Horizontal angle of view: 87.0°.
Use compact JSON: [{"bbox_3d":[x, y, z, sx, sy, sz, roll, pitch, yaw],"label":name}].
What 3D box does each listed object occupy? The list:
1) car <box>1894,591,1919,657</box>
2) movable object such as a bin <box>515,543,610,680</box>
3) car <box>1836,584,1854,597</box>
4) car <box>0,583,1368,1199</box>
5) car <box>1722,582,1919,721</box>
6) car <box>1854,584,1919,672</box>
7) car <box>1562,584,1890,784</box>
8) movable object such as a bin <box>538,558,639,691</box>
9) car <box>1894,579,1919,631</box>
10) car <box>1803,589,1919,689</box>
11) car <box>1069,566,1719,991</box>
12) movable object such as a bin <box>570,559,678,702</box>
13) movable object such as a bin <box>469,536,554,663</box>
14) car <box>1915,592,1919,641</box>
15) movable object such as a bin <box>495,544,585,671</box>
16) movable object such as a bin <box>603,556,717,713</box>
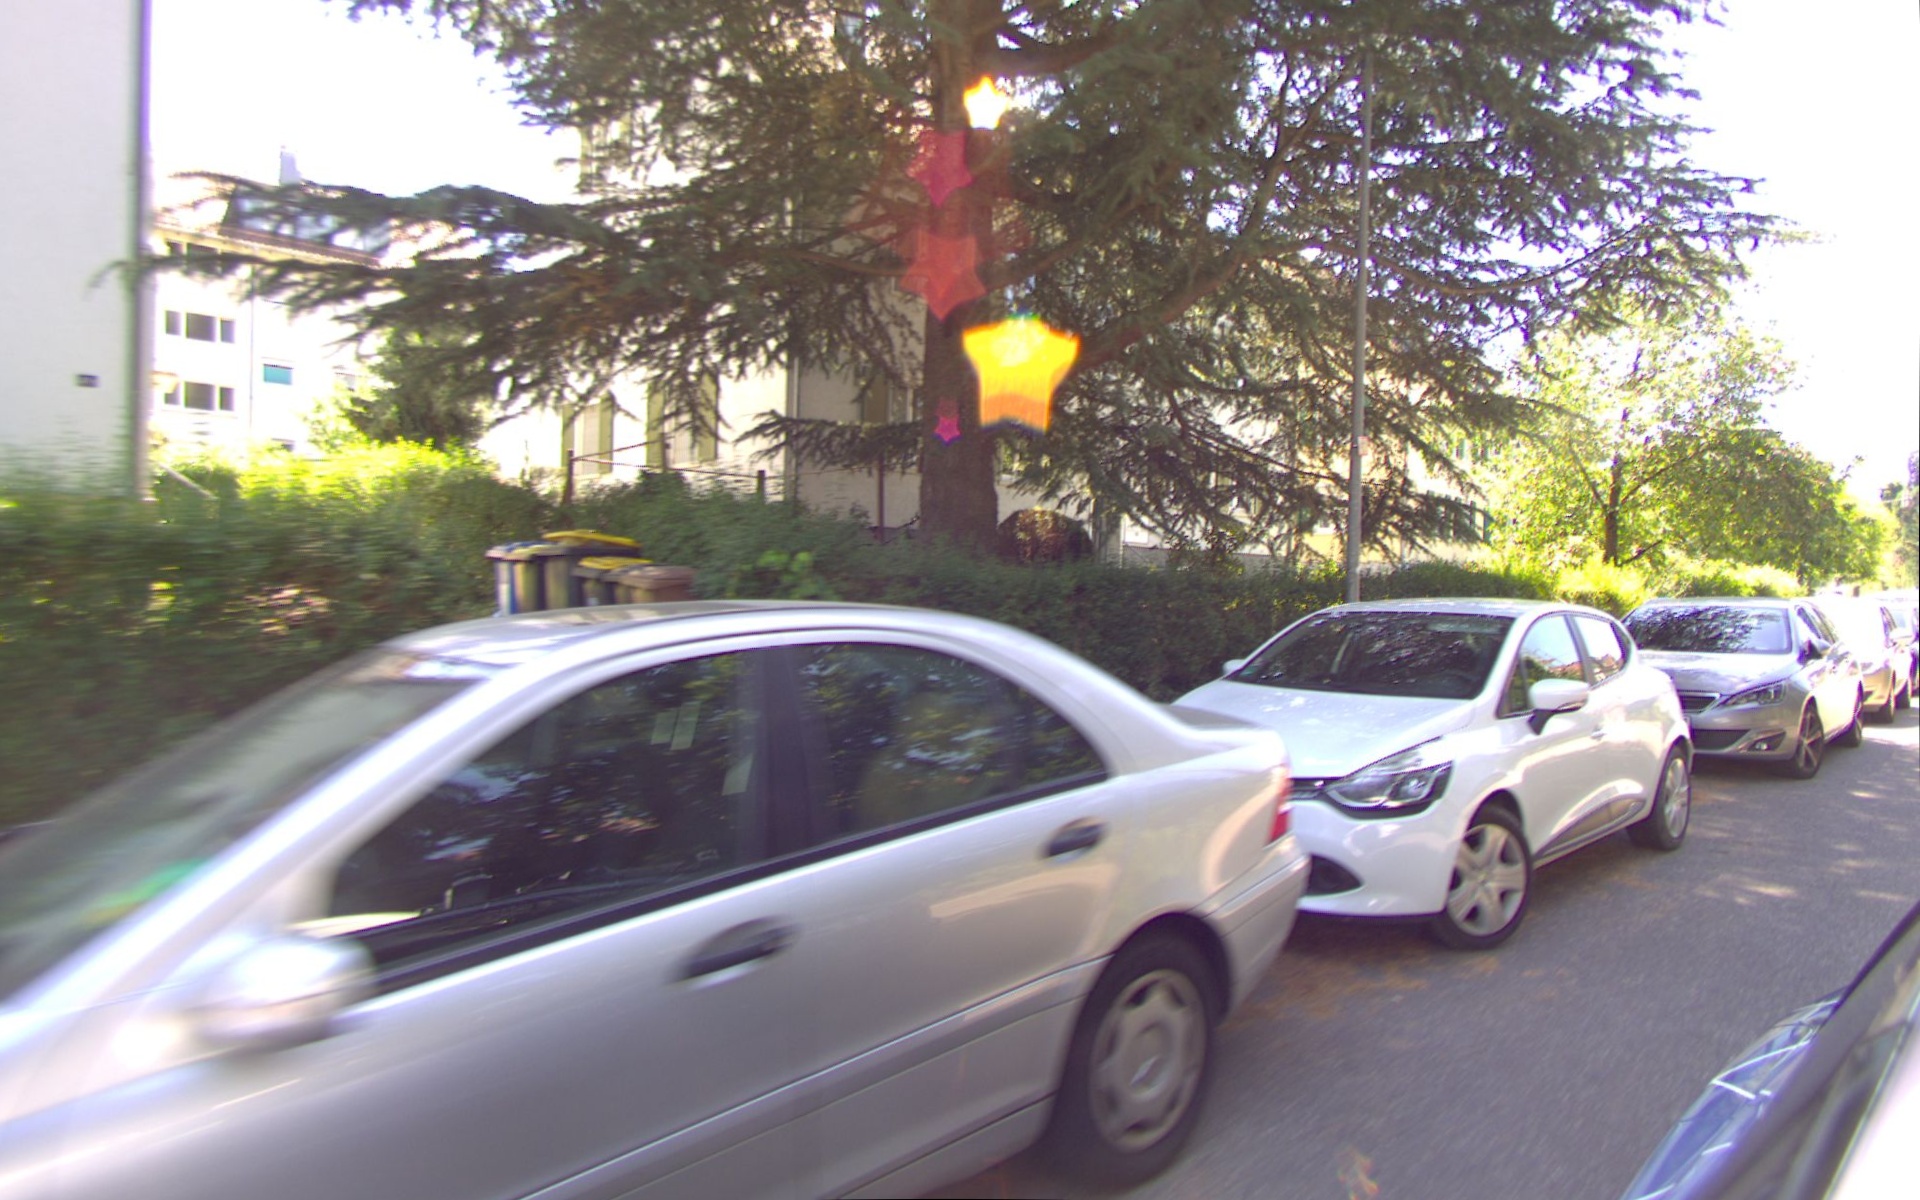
[{"bbox_3d":[22.732,0.517,23.362,1.662,1.450,4.137,1,1,44],"label":"car"},{"bbox_3d":[-3.109,0.075,7.903,0.528,1.006,0.512,0,3,-42],"label":"movable object such as a bin"},{"bbox_3d":[120.172,-1.286,137.387,1.650,1.581,3.830,3,3,39],"label":"car"},{"bbox_3d":[-0.855,0.682,2.380,4.184,1.413,1.617,-1,0,-41],"label":"car"},{"bbox_3d":[11.414,0.572,13.201,3.995,1.532,1.616,-1,-2,-43],"label":"car"},{"bbox_3d":[18.763,0.519,19.774,3.940,1.596,1.583,0,0,-43],"label":"car"},{"bbox_3d":[7.323,0.619,9.505,4.298,1.469,1.617,0,0,-41],"label":"car"},{"bbox_3d":[-2.722,0.163,7.418,0.528,0.914,0.512,0,3,-42],"label":"movable object such as a bin"},{"bbox_3d":[35.157,0.157,36.771,1.660,1.826,4.139,-2,-1,42],"label":"car"},{"bbox_3d":[15.253,0.615,16.651,3.939,1.462,1.583,1,-3,-43],"label":"car"},{"bbox_3d":[2.556,0.609,5.458,3.992,1.488,1.618,0,1,-40],"label":"car"},{"bbox_3d":[-2.317,0.191,6.977,0.528,0.914,0.512,0,3,-42],"label":"movable object such as a bin"},{"bbox_3d":[-3.875,-0.012,8.738,0.528,1.044,0.512,0,3,-42],"label":"movable object such as a bin"},{"bbox_3d":[31.018,0.474,31.590,1.661,1.454,4.063,-2,-1,44],"label":"car"},{"bbox_3d":[-3.454,0.049,8.322,0.528,0.983,0.512,0,3,-42],"label":"movable object such as a bin"},{"bbox_3d":[-1.952,0.206,6.576,0.528,0.953,0.512,0,3,-42],"label":"movable object such as a bin"}]
